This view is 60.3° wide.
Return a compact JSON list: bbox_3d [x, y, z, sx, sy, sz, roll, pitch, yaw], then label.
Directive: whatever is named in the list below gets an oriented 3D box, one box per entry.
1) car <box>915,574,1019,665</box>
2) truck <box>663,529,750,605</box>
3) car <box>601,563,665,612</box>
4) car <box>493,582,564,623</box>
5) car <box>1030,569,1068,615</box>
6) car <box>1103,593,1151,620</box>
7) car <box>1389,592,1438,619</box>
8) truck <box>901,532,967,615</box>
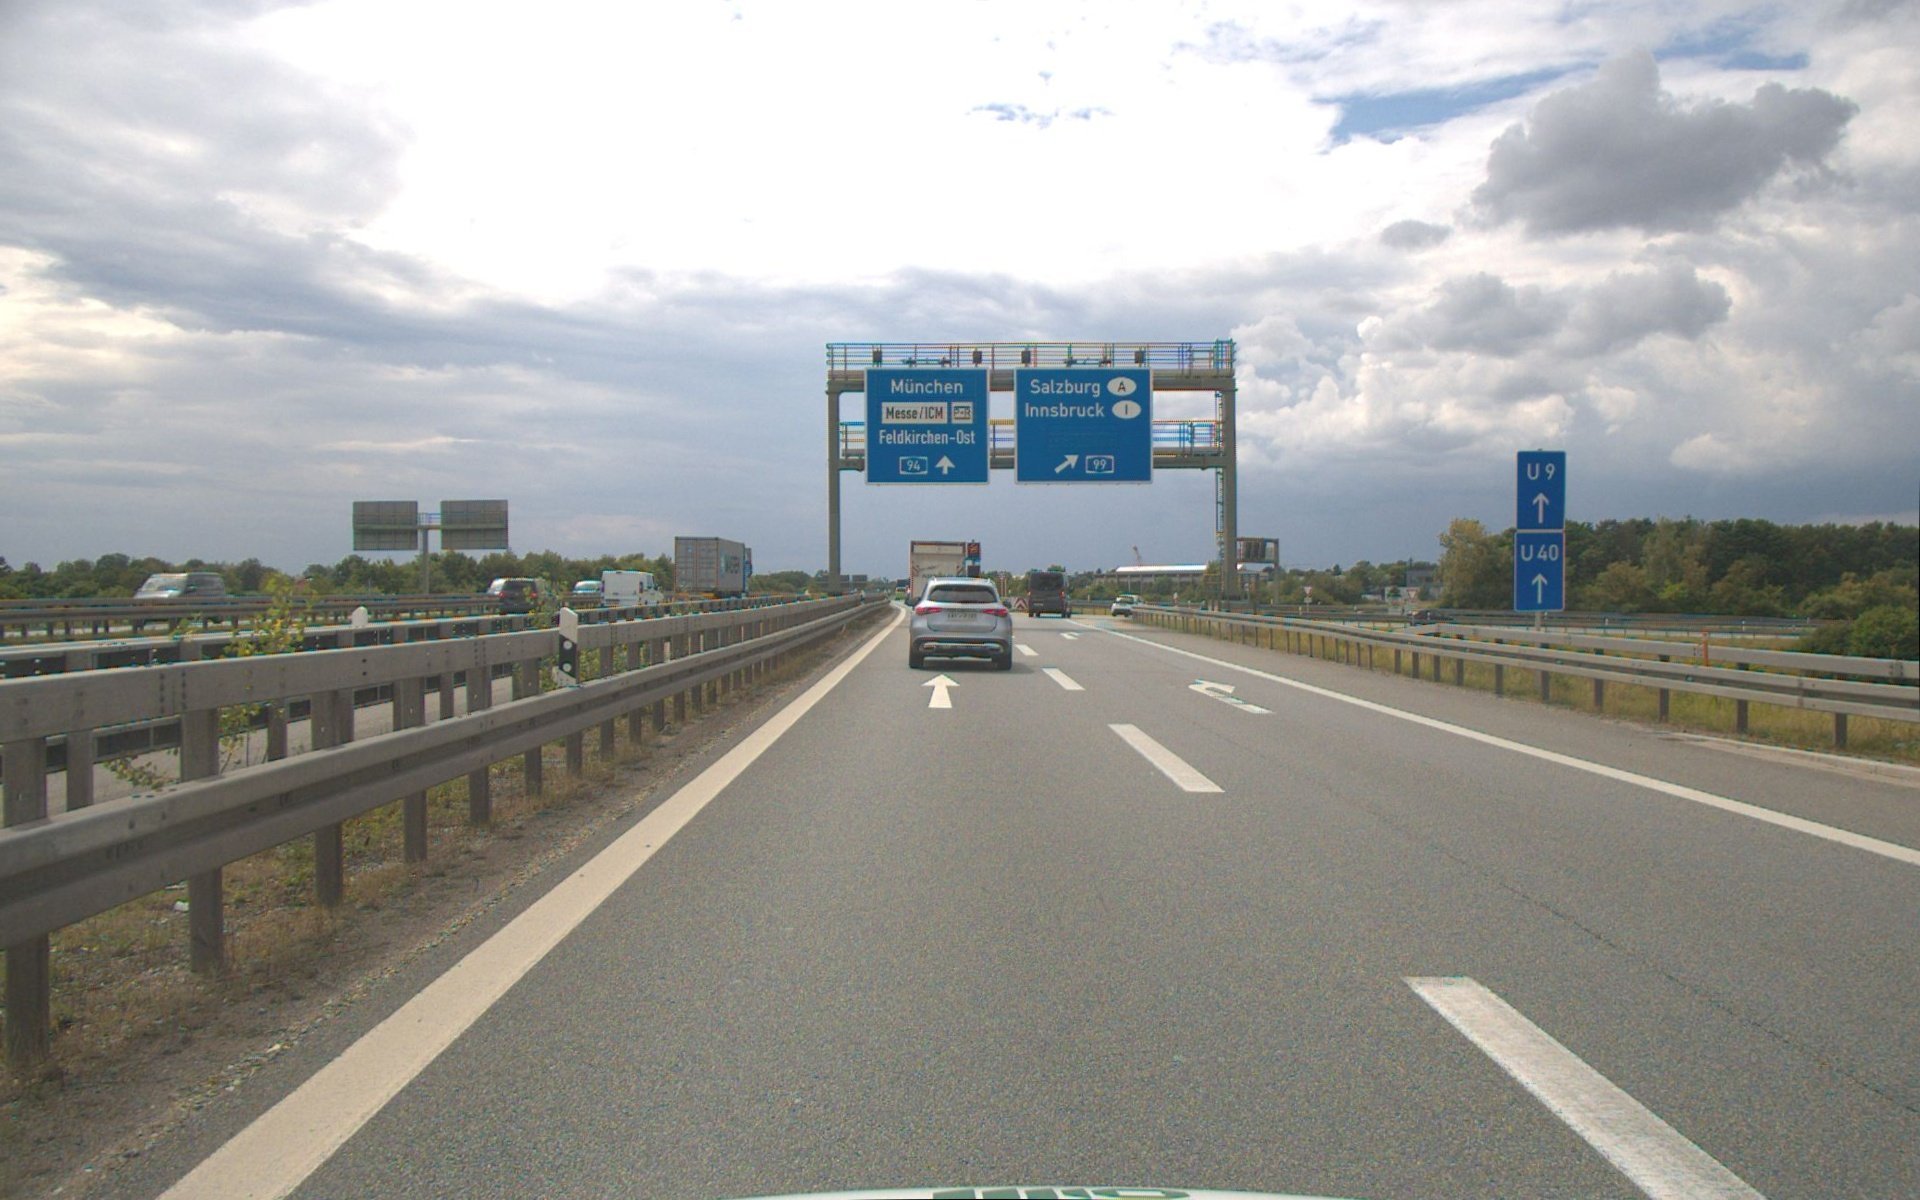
[{"bbox_3d":[0.100,0.307,30.865,1.782,1.540,4.000,1,1,-1],"label":"car"},{"bbox_3d":[-14.837,-1.963,98.312,3.119,4.089,16.071,1,1,-2],"label":"truck"},{"bbox_3d":[-14.266,-0.582,72.304,1.953,2.048,4.374,1,1,-1],"label":"car"},{"bbox_3d":[-18.080,0.079,69.454,1.843,1.573,4.614,1,1,-1],"label":"car"},{"bbox_3d":[4.630,-0.459,86.830,1.867,2.301,4.650,1,1,2],"label":"car"},{"bbox_3d":[11.474,0.435,113.610,1.955,1.739,3.995,2,1,28],"label":"car"},{"bbox_3d":[39.428,0.487,143.676,3.945,2.048,1.766,4,0,-30],"label":"car"},{"bbox_3d":[-1.048,-1.035,68.558,2.516,3.180,8.633,1,0,-1],"label":"truck"}]
